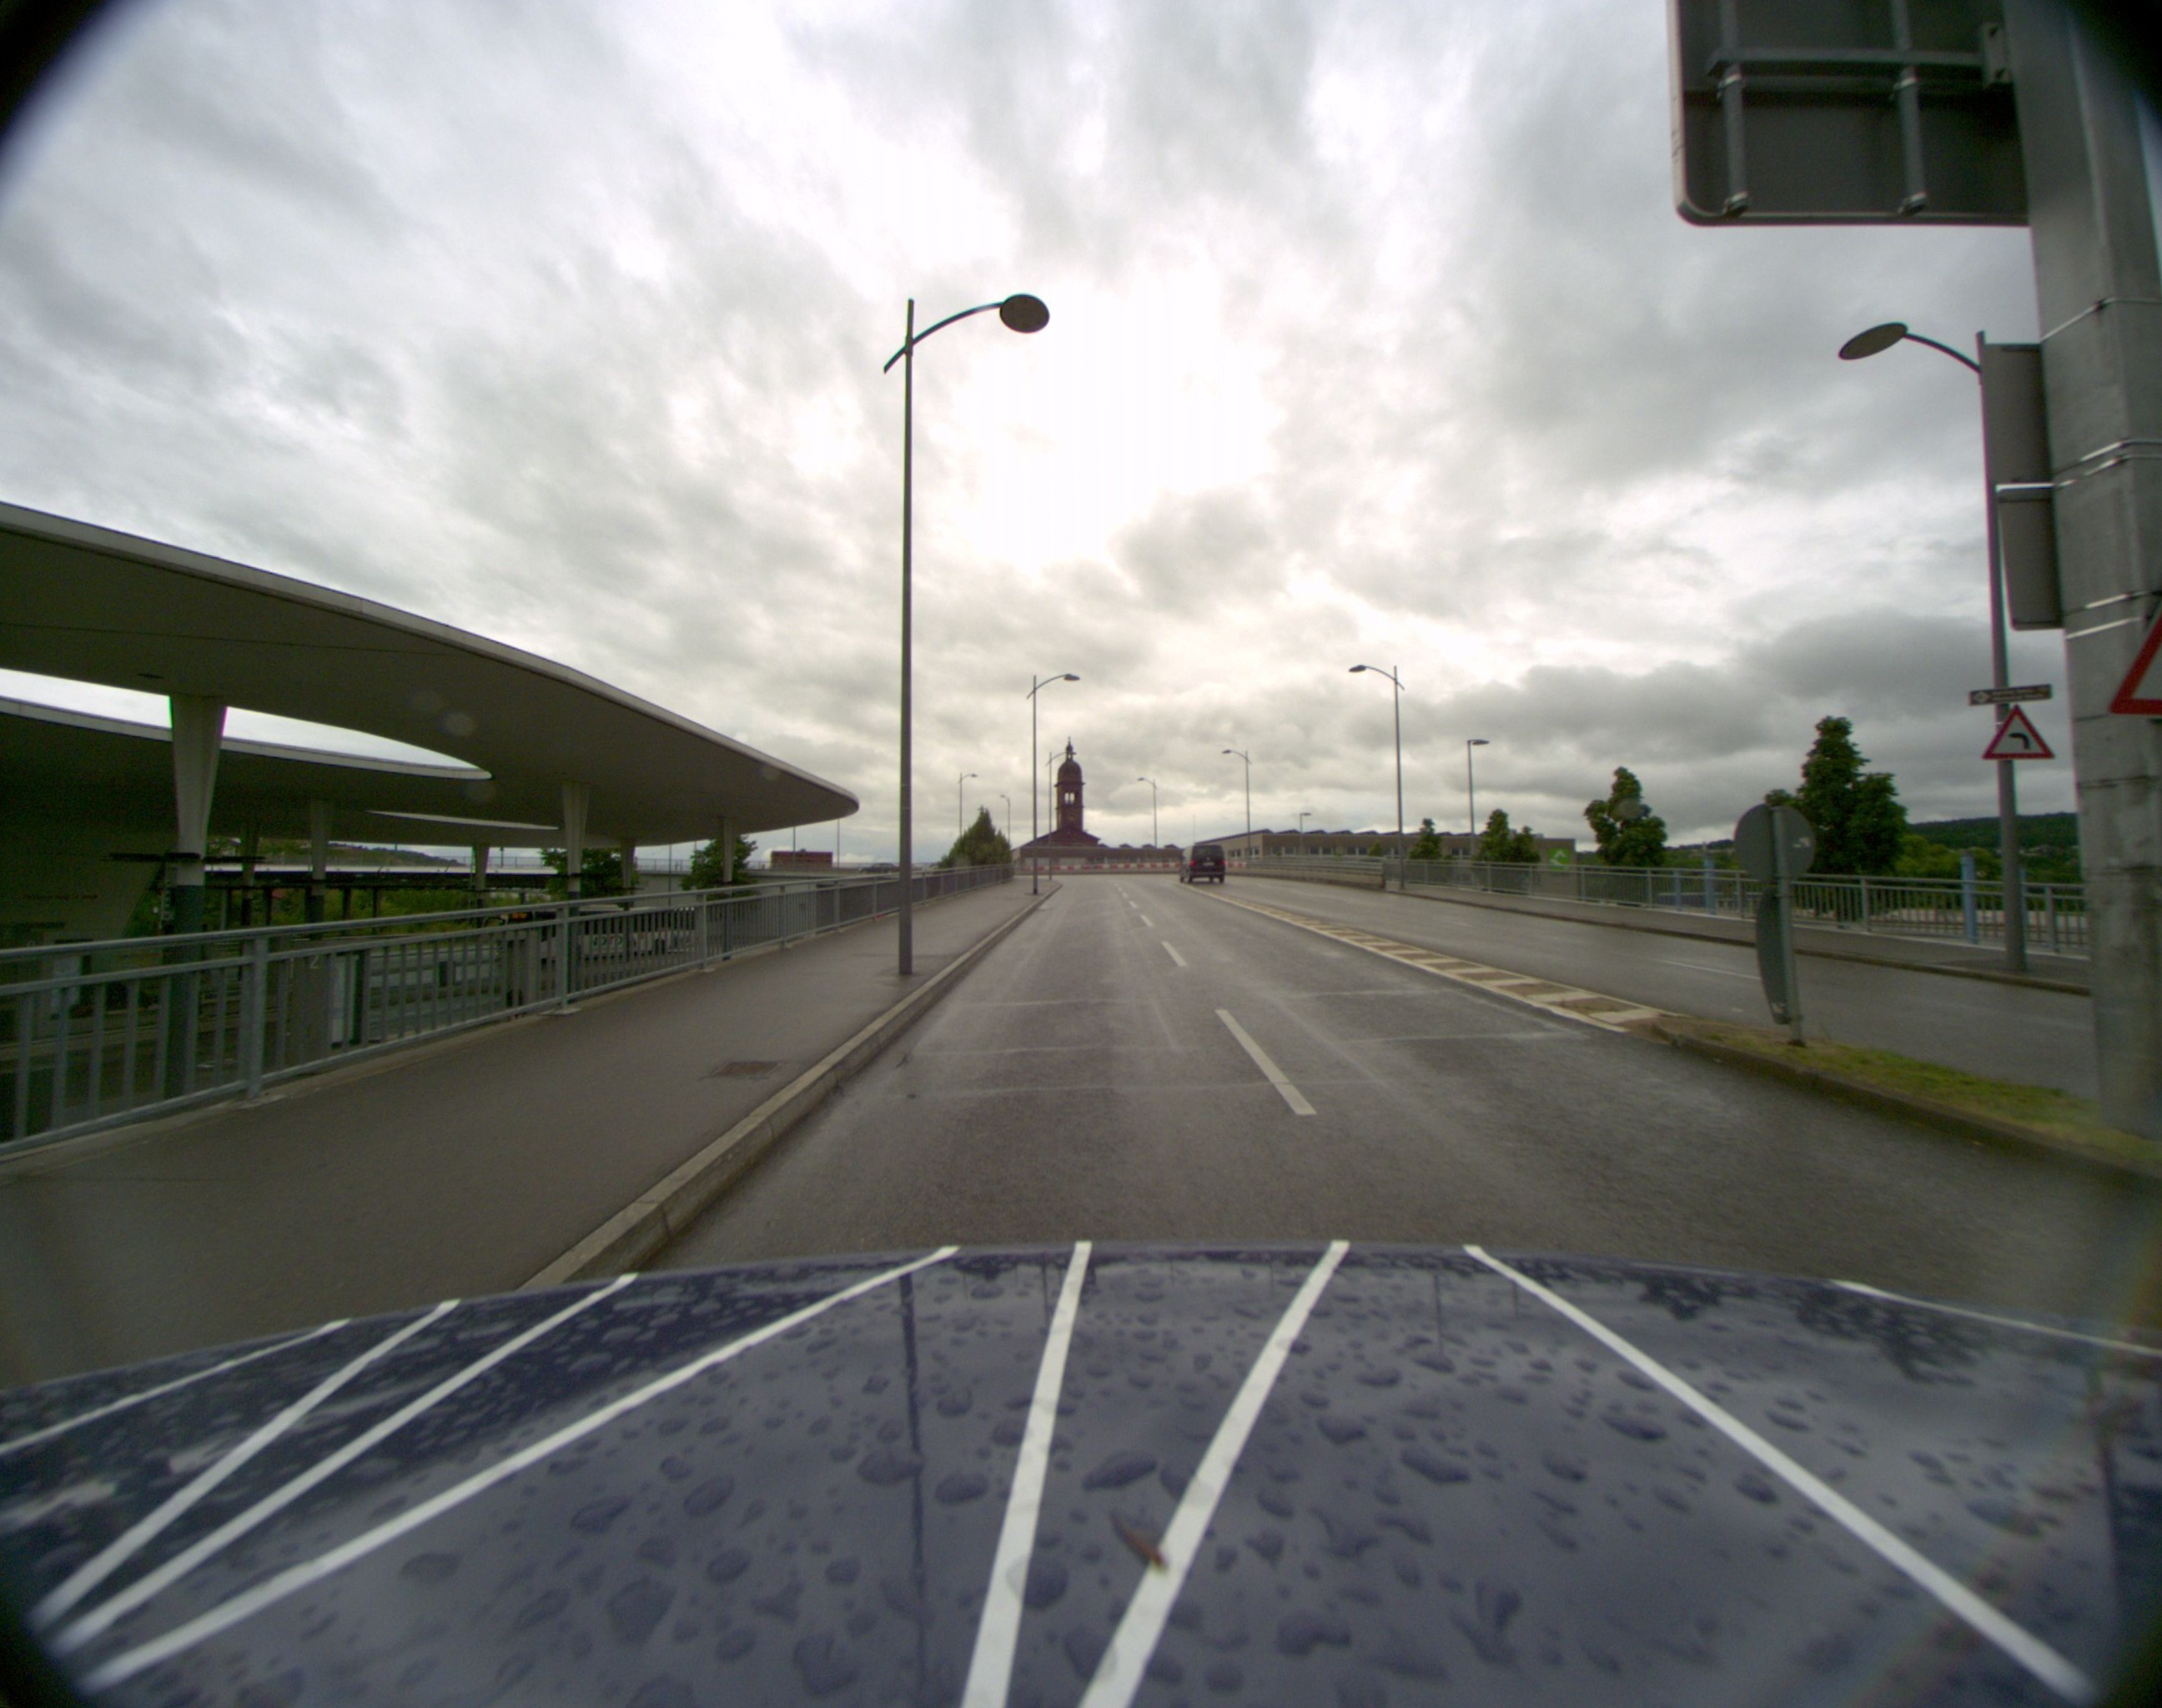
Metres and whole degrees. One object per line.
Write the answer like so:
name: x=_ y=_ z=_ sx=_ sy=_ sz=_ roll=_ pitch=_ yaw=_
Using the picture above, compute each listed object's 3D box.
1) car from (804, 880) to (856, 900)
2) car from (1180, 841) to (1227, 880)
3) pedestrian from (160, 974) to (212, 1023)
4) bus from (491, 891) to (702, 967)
car: x=-26.362 y=3.739 z=79.943 sx=4.682 sy=1.955 sz=2.115 roll=-2 pitch=-1 yaw=-2
car: x=6.414 y=0.318 z=40.291 sx=1.849 sy=1.956 sz=4.685 roll=0 pitch=1 yaw=2
pedestrian: x=-24.317 y=3.915 z=20.644 sx=0.536 sy=1.157 sz=0.669 roll=-3 pitch=1 yaw=-2
bus: x=-29.173 y=4.367 z=46.918 sx=2.792 sy=3.238 sz=12.152 roll=-3 pitch=1 yaw=15
